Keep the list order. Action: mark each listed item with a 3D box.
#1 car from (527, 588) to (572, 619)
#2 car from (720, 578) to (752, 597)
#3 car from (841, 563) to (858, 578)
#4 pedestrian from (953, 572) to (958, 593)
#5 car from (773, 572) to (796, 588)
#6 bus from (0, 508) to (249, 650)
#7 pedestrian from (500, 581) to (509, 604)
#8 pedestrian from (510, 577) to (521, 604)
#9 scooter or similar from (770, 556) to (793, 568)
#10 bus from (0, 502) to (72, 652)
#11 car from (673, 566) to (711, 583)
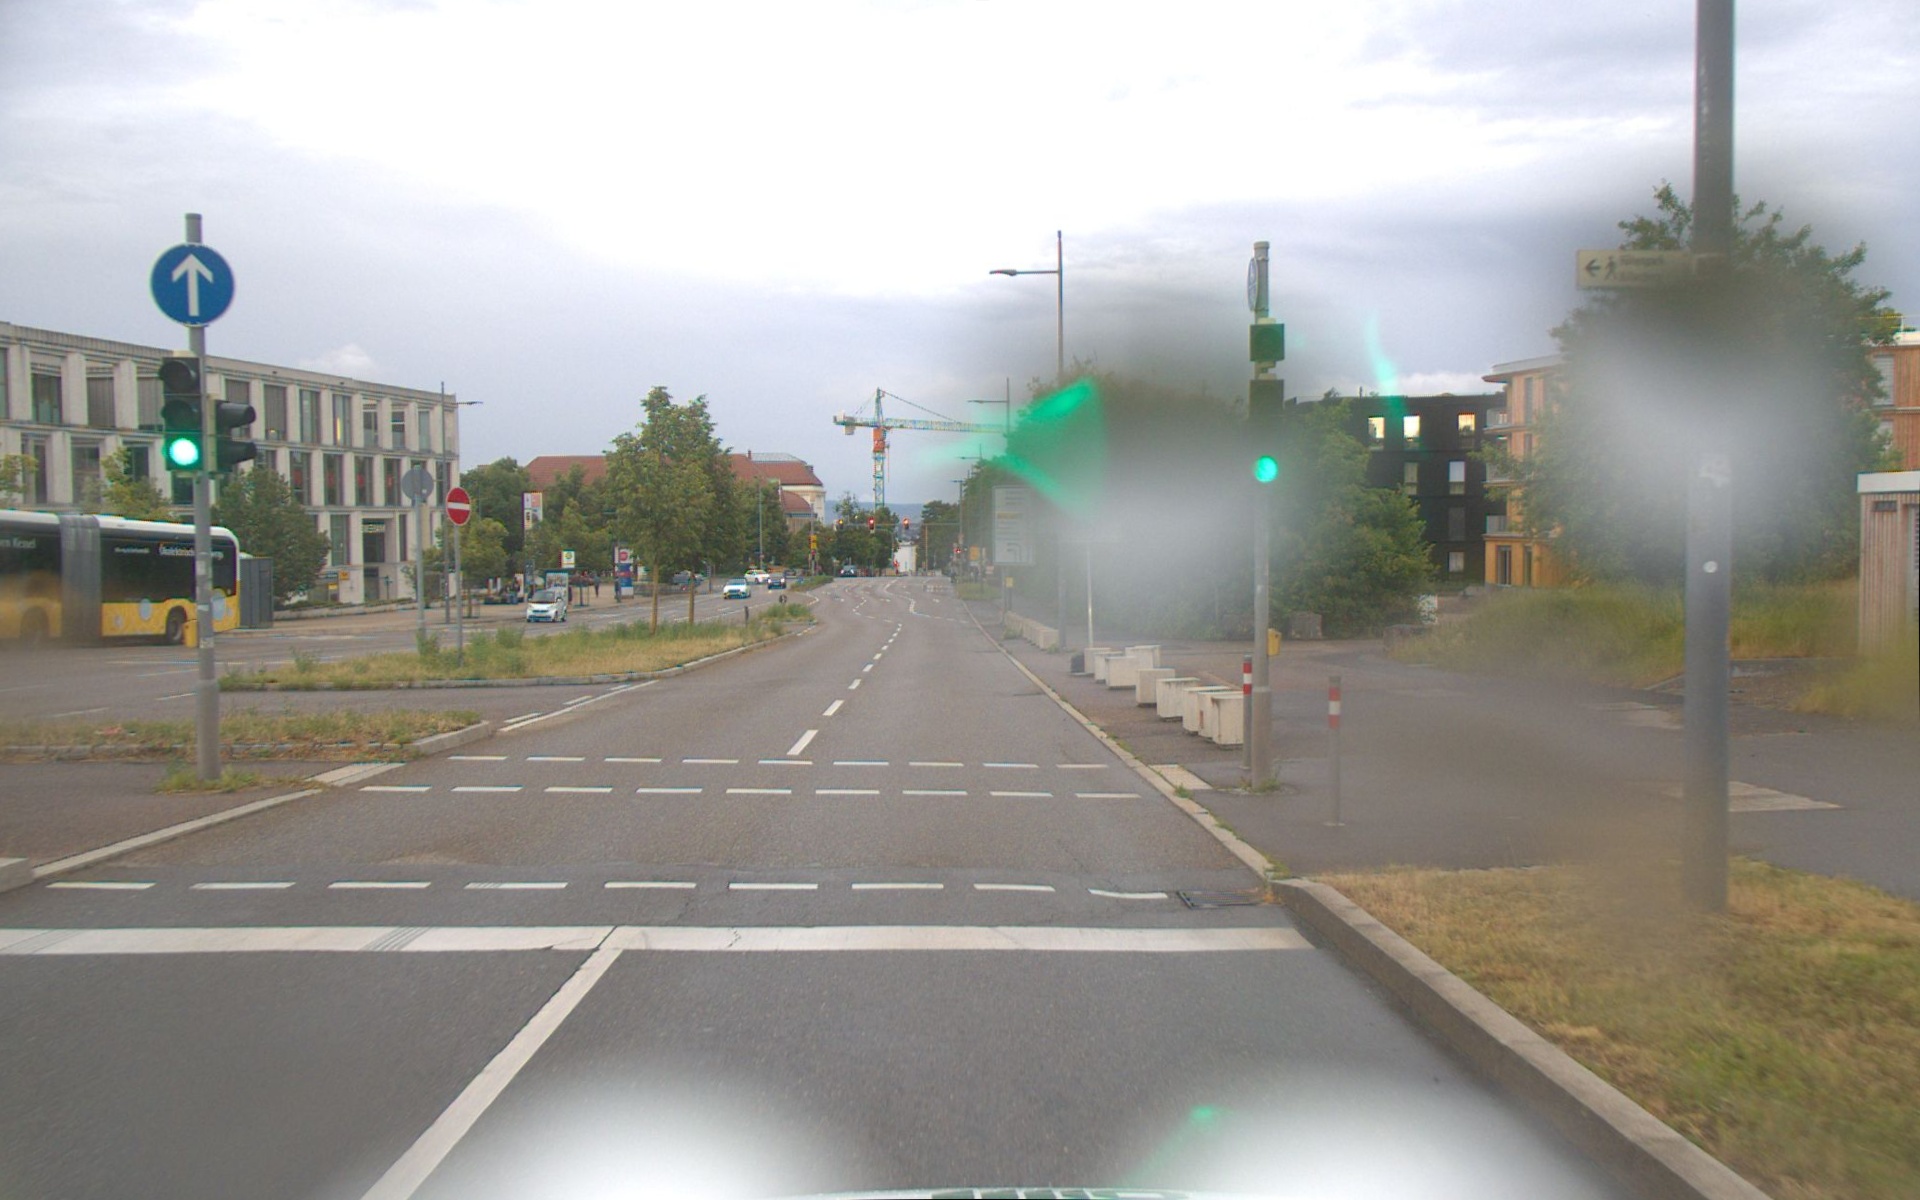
[{"bbox_3d":[-20.668,0.155,83.347,1.581,1.534,2.972,1,1,-1],"label":"car"},{"bbox_3d":[-17.360,-0.957,128.405,1.953,1.443,4.512,0,1,-1],"label":"car"},{"bbox_3d":[-14.729,-3.918,220.161,1.953,1.870,3.999,1,0,-1],"label":"car"},{"bbox_3d":[-0.428,-1.750,163.086,0.392,2.048,0.514,-3,1,5],"label":"pedestrian"},{"bbox_3d":[-16.865,-1.898,158.845,1.809,1.487,3.866,-2,1,-1],"label":"car"},{"bbox_3d":[-23.162,-0.524,45.603,2.761,3.533,8.236,1,0,6],"label":"bus"},{"bbox_3d":[-29.882,-0.487,108.460,0.417,1.476,0.510,-1,1,-1],"label":"pedestrian"},{"bbox_3d":[-28.944,-0.599,107.758,0.514,1.755,0.566,-1,1,1],"label":"pedestrian"},{"bbox_3d":[-23.881,-5.092,221.392,3.026,1.465,0.948,-1,1,-3],"label":"scooter or similar"},{"bbox_3d":[-24.168,-0.579,36.576,2.761,3.533,9.981,1,0,6],"label":"bus"},{"bbox_3d":[-29.605,-2.808,182.457,3.920,1.911,1.992,1,0,36],"label":"car"}]
